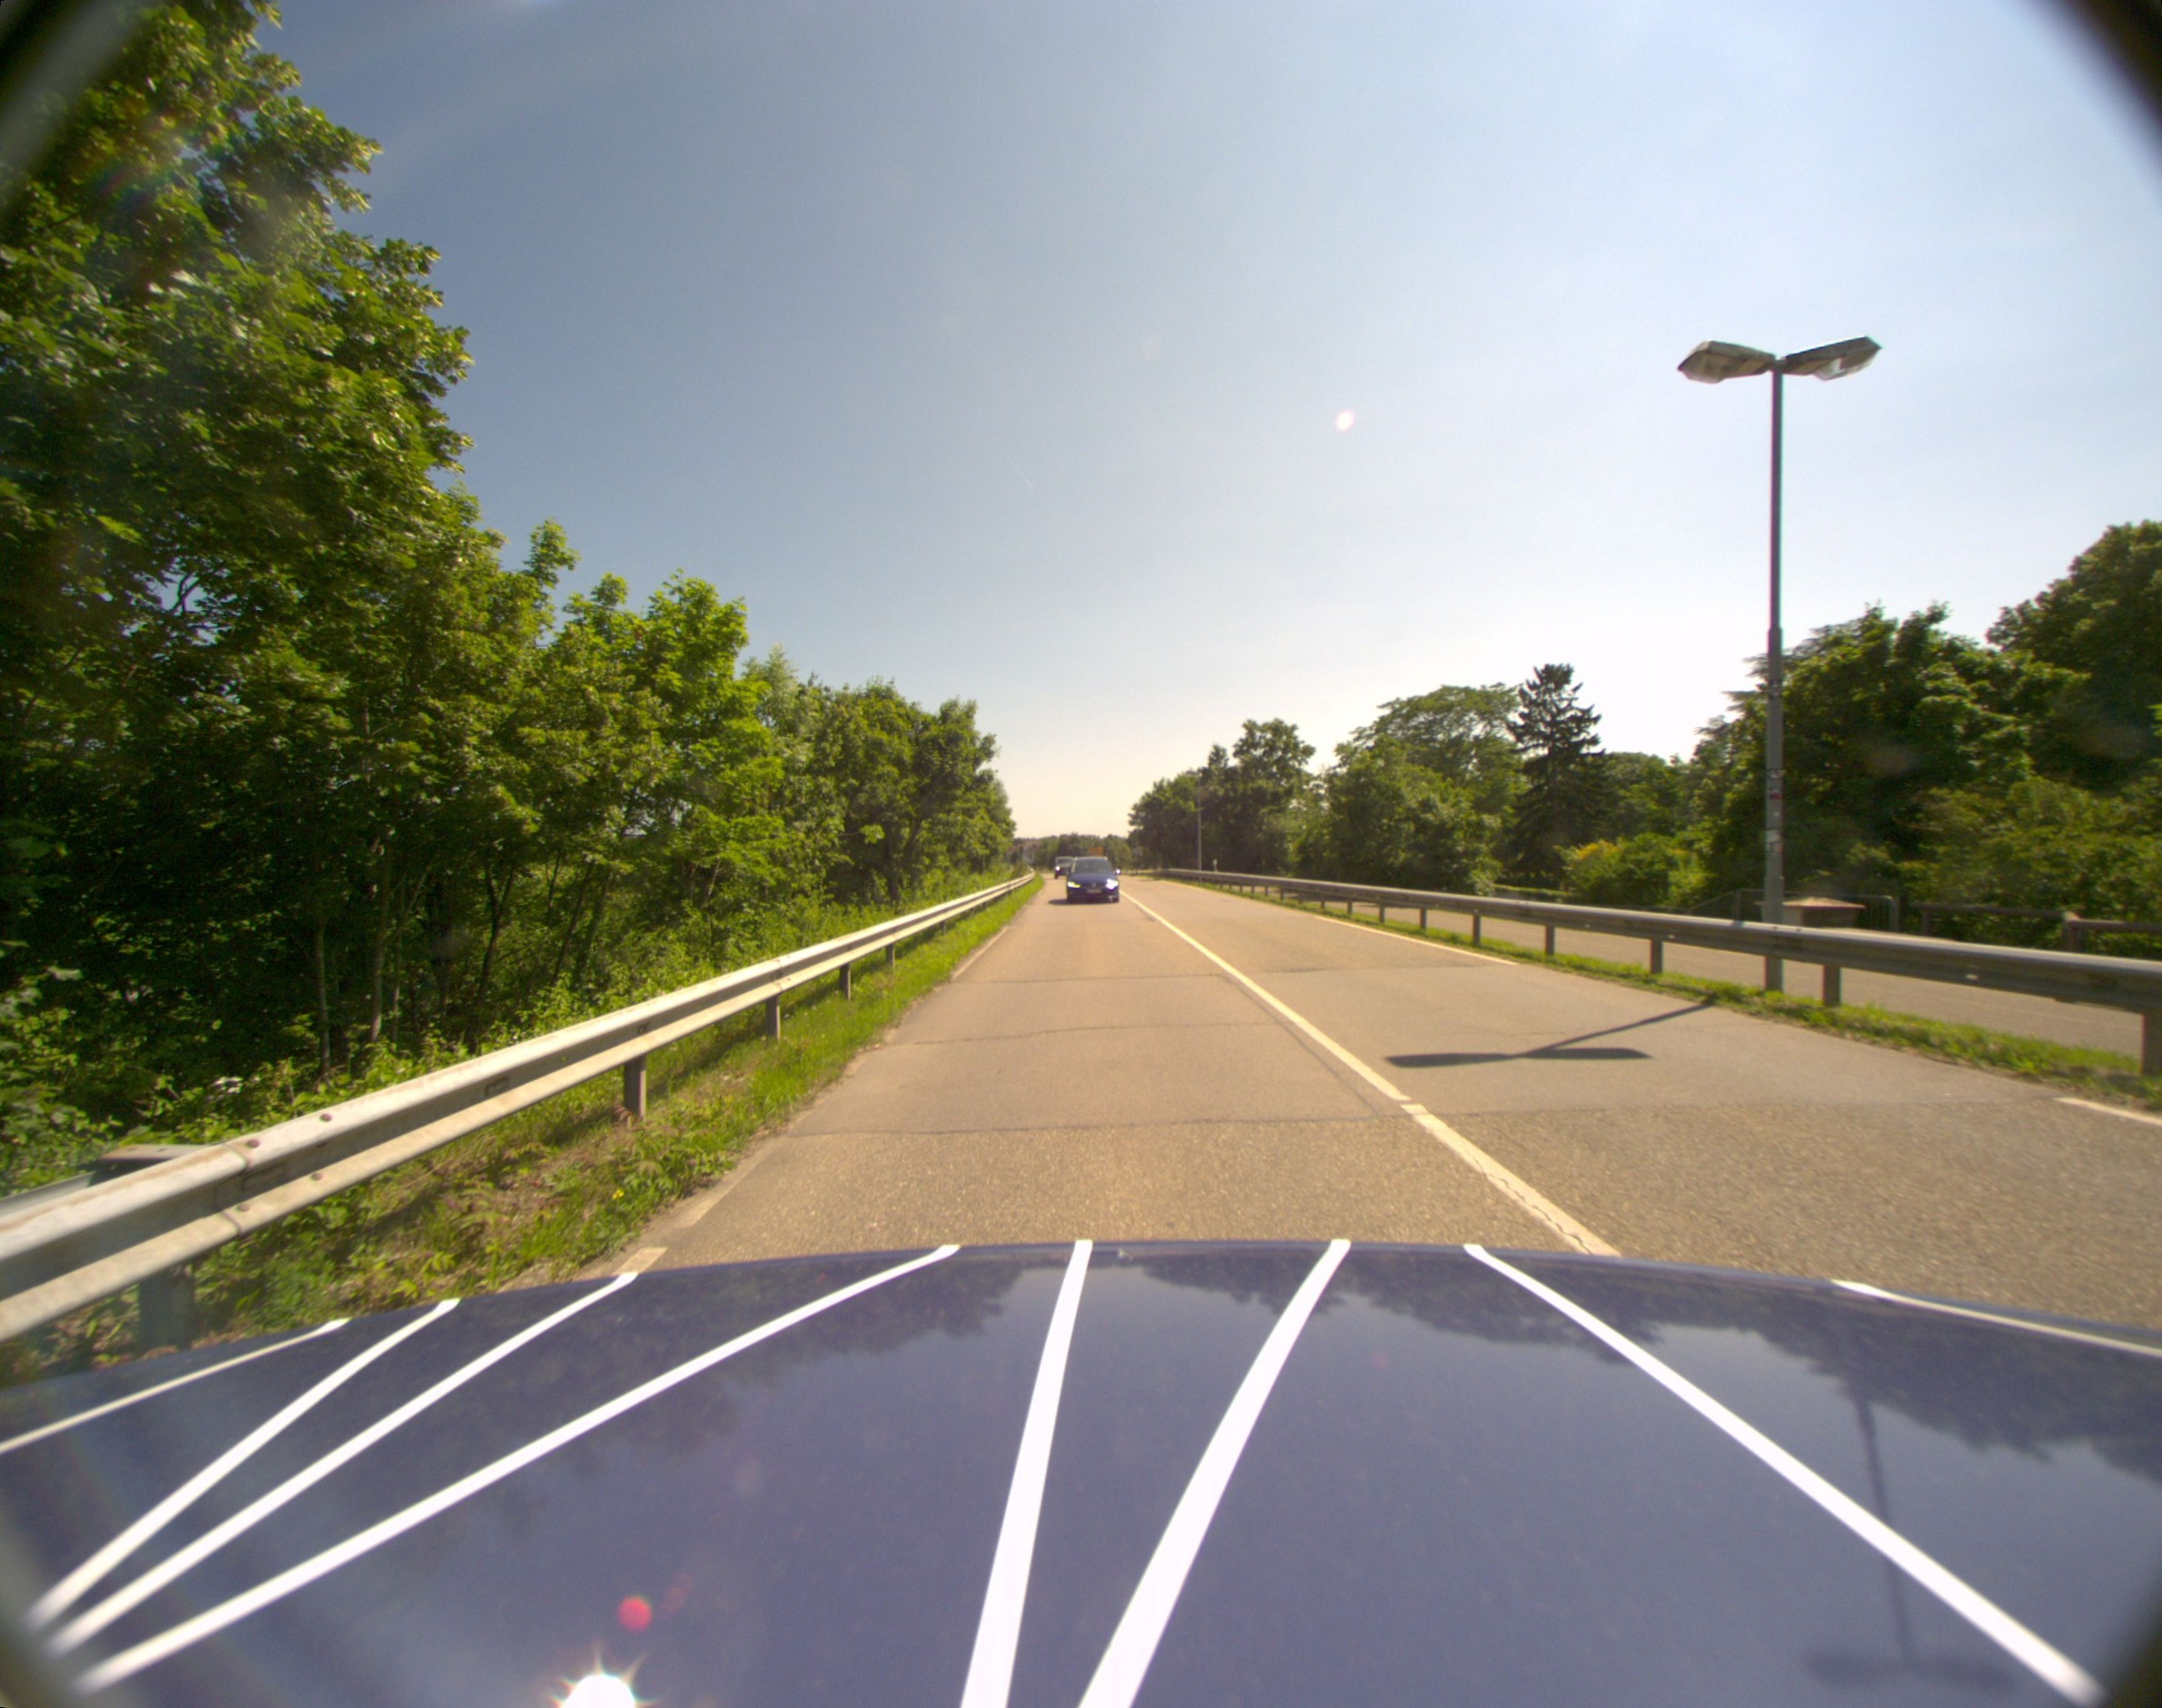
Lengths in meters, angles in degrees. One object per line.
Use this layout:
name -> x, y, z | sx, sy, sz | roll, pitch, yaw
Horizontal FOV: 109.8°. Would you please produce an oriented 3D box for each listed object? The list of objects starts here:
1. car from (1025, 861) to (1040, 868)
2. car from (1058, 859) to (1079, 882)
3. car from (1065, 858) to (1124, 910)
car -> -10.240, 2.250, 160.013 | 1.747, 1.447, 3.880 | 0, 0, -26
car -> -1.121, 1.519, 69.190 | 1.779, 2.006, 4.001 | 1, -1, 0
car -> 0.420, 0.937, 25.736 | 1.828, 1.591, 4.195 | 0, 0, 0
